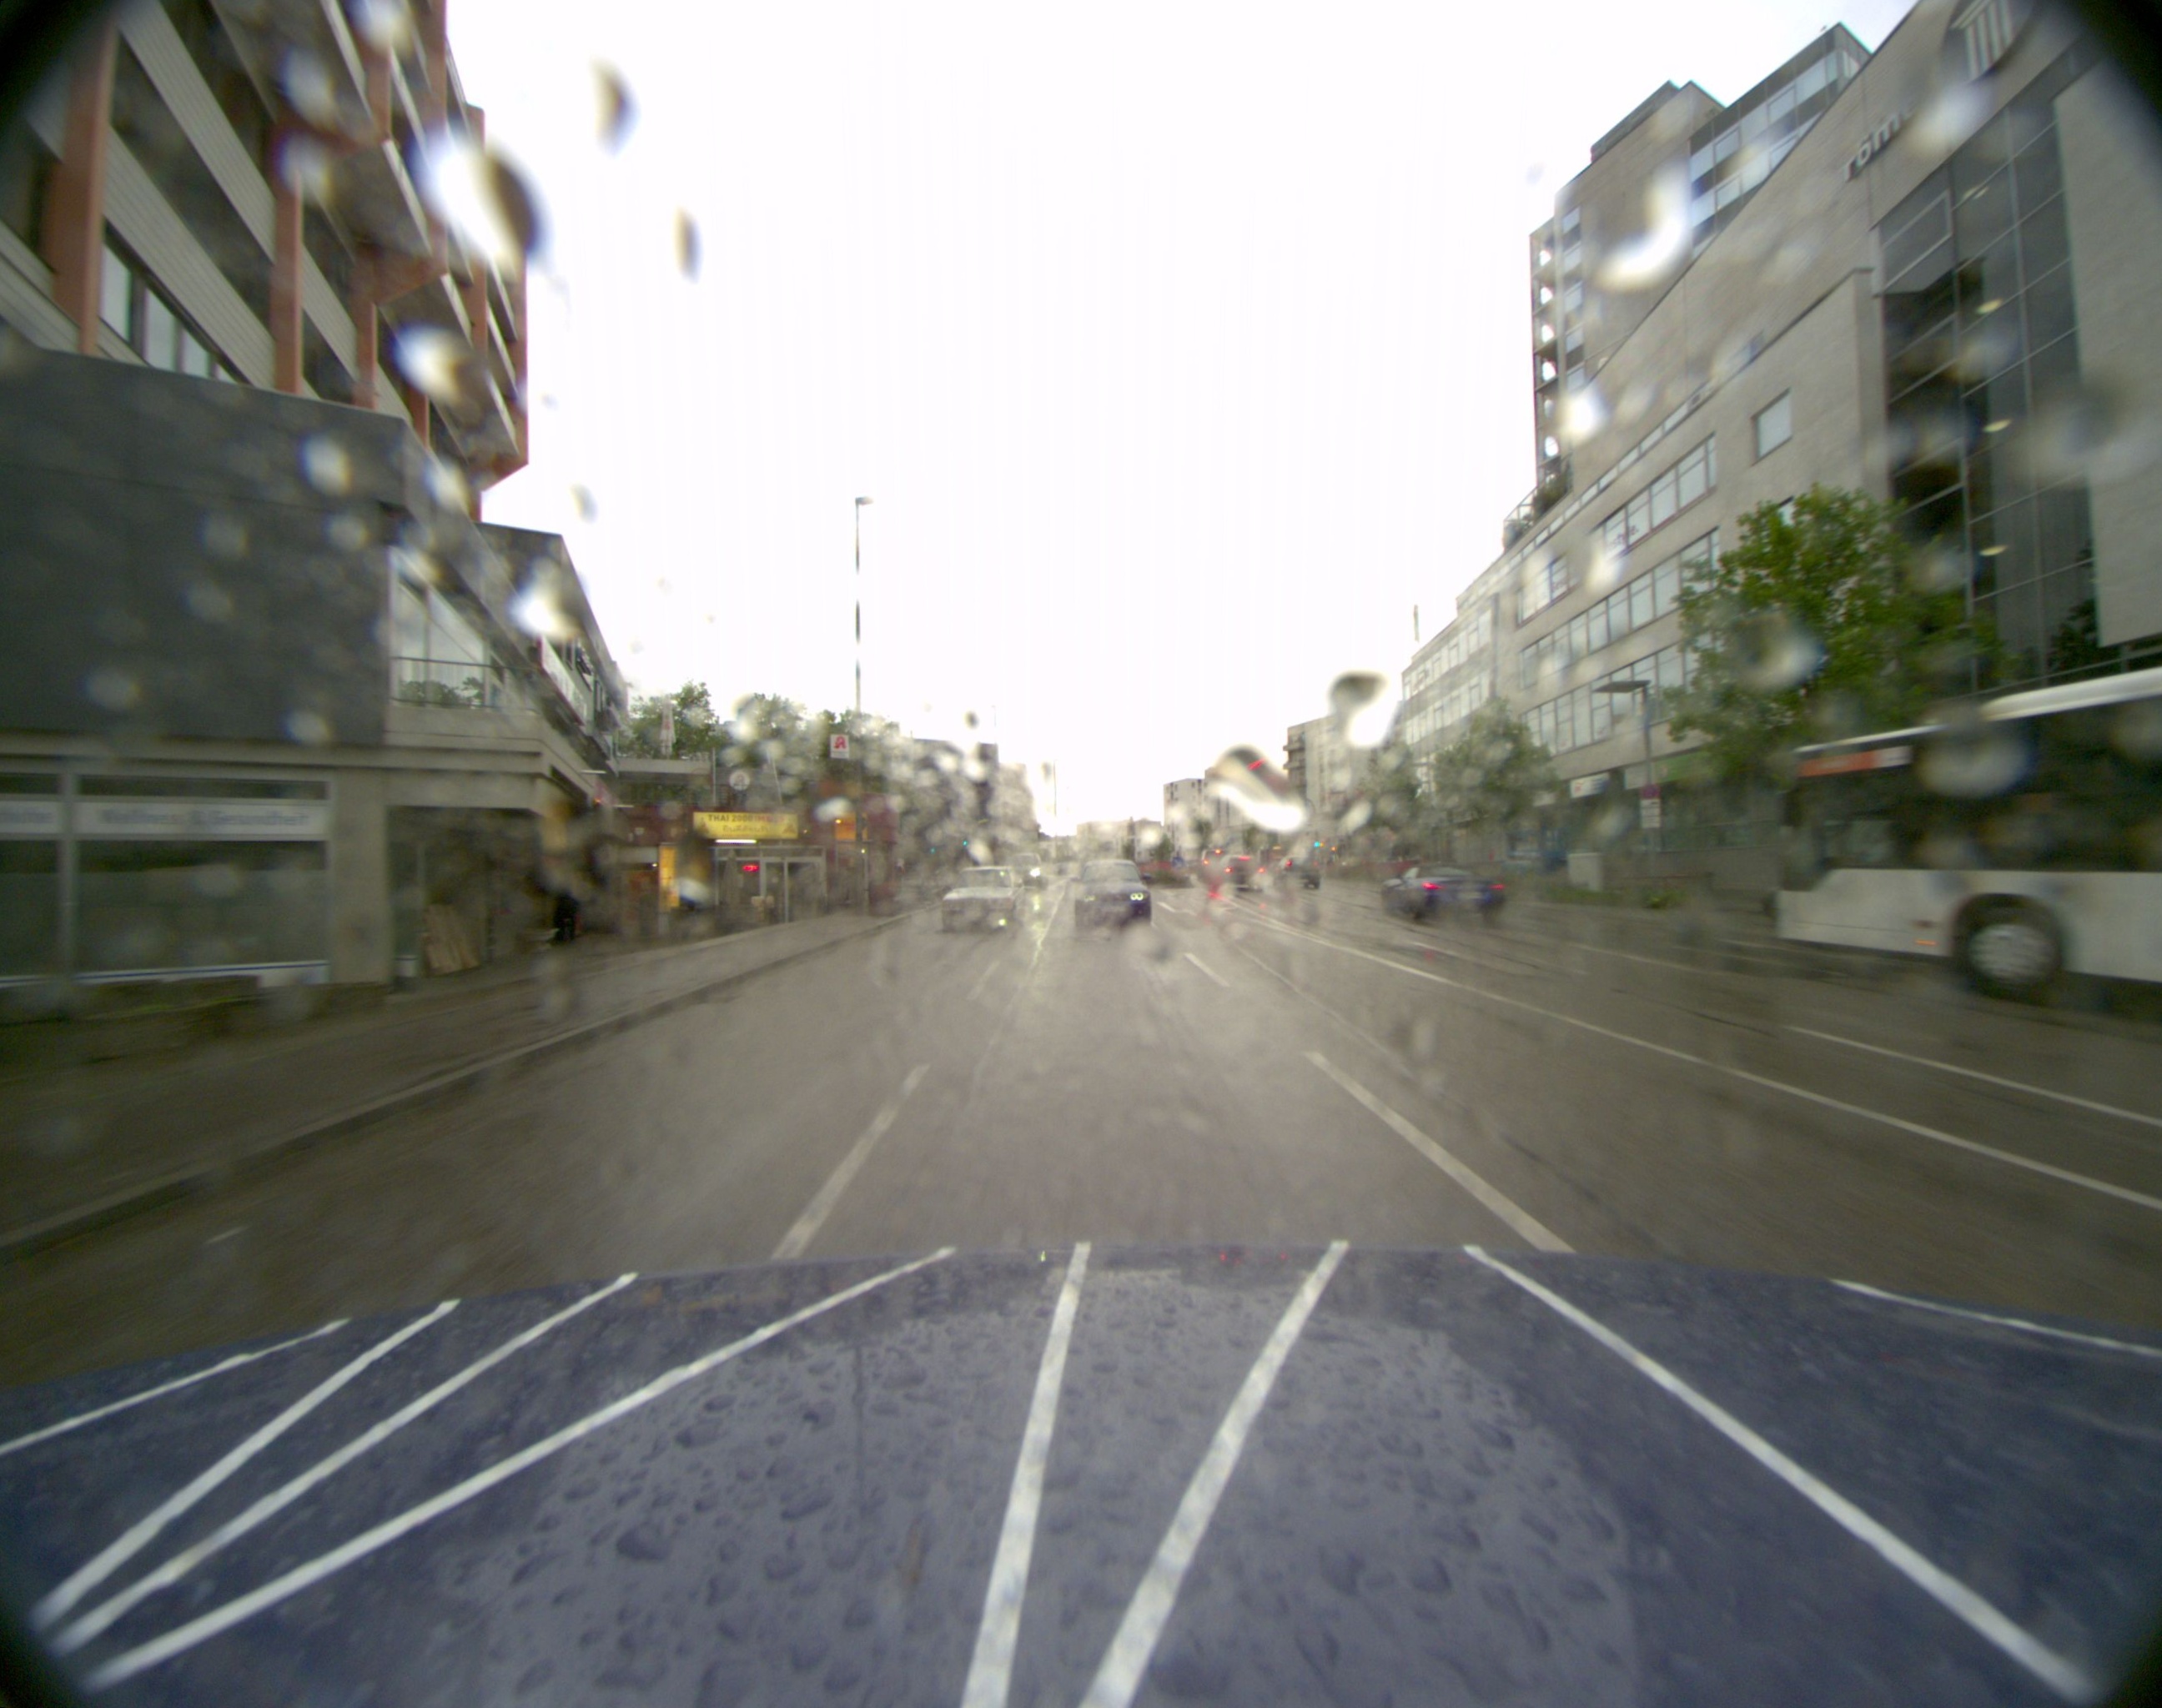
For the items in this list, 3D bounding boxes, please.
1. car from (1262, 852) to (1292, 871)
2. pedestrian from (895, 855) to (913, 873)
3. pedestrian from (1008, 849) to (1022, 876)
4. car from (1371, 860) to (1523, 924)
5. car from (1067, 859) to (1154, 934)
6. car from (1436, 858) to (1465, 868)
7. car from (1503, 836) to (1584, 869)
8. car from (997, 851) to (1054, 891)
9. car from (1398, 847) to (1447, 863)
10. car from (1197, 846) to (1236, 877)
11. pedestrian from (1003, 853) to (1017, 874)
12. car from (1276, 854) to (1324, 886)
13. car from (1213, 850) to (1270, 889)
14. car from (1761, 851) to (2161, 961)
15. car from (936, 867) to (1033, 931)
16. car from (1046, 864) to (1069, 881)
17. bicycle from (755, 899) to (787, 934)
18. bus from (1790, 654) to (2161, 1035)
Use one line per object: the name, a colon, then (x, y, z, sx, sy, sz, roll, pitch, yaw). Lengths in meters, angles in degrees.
car: (16.522, 0.602, 64.179, 1.920, 1.539, 4.003, 0, 1, 6)
pedestrian: (-13.890, 0.749, 59.564, 0.924, 1.392, 1.210, -2, 1, -35)
pedestrian: (-4.586, 0.580, 52.918, 0.687, 1.793, 0.797, 2, 2, 11)
car: (8.591, 0.832, 18.279, 1.900, 1.249, 4.195, -1, 1, 4)
car: (0.701, 0.861, 17.115, 1.688, 1.373, 3.794, -2, 1, 3)
car: (45.260, 1.067, 93.056, 3.074, 1.186, 1.444, -1, 1, -17)
car: (21.287, -0.092, 35.118, 1.757, 1.402, 3.731, -1, 1, 6)
car: (-2.419, 0.698, 34.532, 2.058, 1.638, 4.480, -1, 1, 2)
car: (33.517, 0.083, 74.625, 4.199, 1.617, 1.683, 0, 1, -10)
car: (8.152, 0.413, 46.144, 1.867, 1.780, 4.000, 1, 1, 3)
pedestrian: (-4.857, 0.662, 52.007, 0.687, 1.372, 0.772, 2, 1, 11)
car: (10.124, 0.710, 35.314, 1.568, 1.367, 3.283, 0, 1, 5)
car: (6.802, 0.631, 32.619, 1.711, 1.508, 4.392, -1, 1, 3)
car: (14.045, 0.702, 12.540, 1.830, 1.438, 4.476, -1, 1, 3)
car: (-2.265, 1.027, 18.849, 1.661, 1.300, 3.995, -1, 1, 3)
car: (-2.223, 1.776, 73.557, 1.854, 1.491, 3.906, -1, 1, 3)
bicycle: (-9.363, 1.878, 22.907, 0.532, 0.932, 1.573, 1, -1, -36)
bus: (9.958, -0.068, 3.621, 2.898, 3.081, 12.003, -1, 1, 5)
